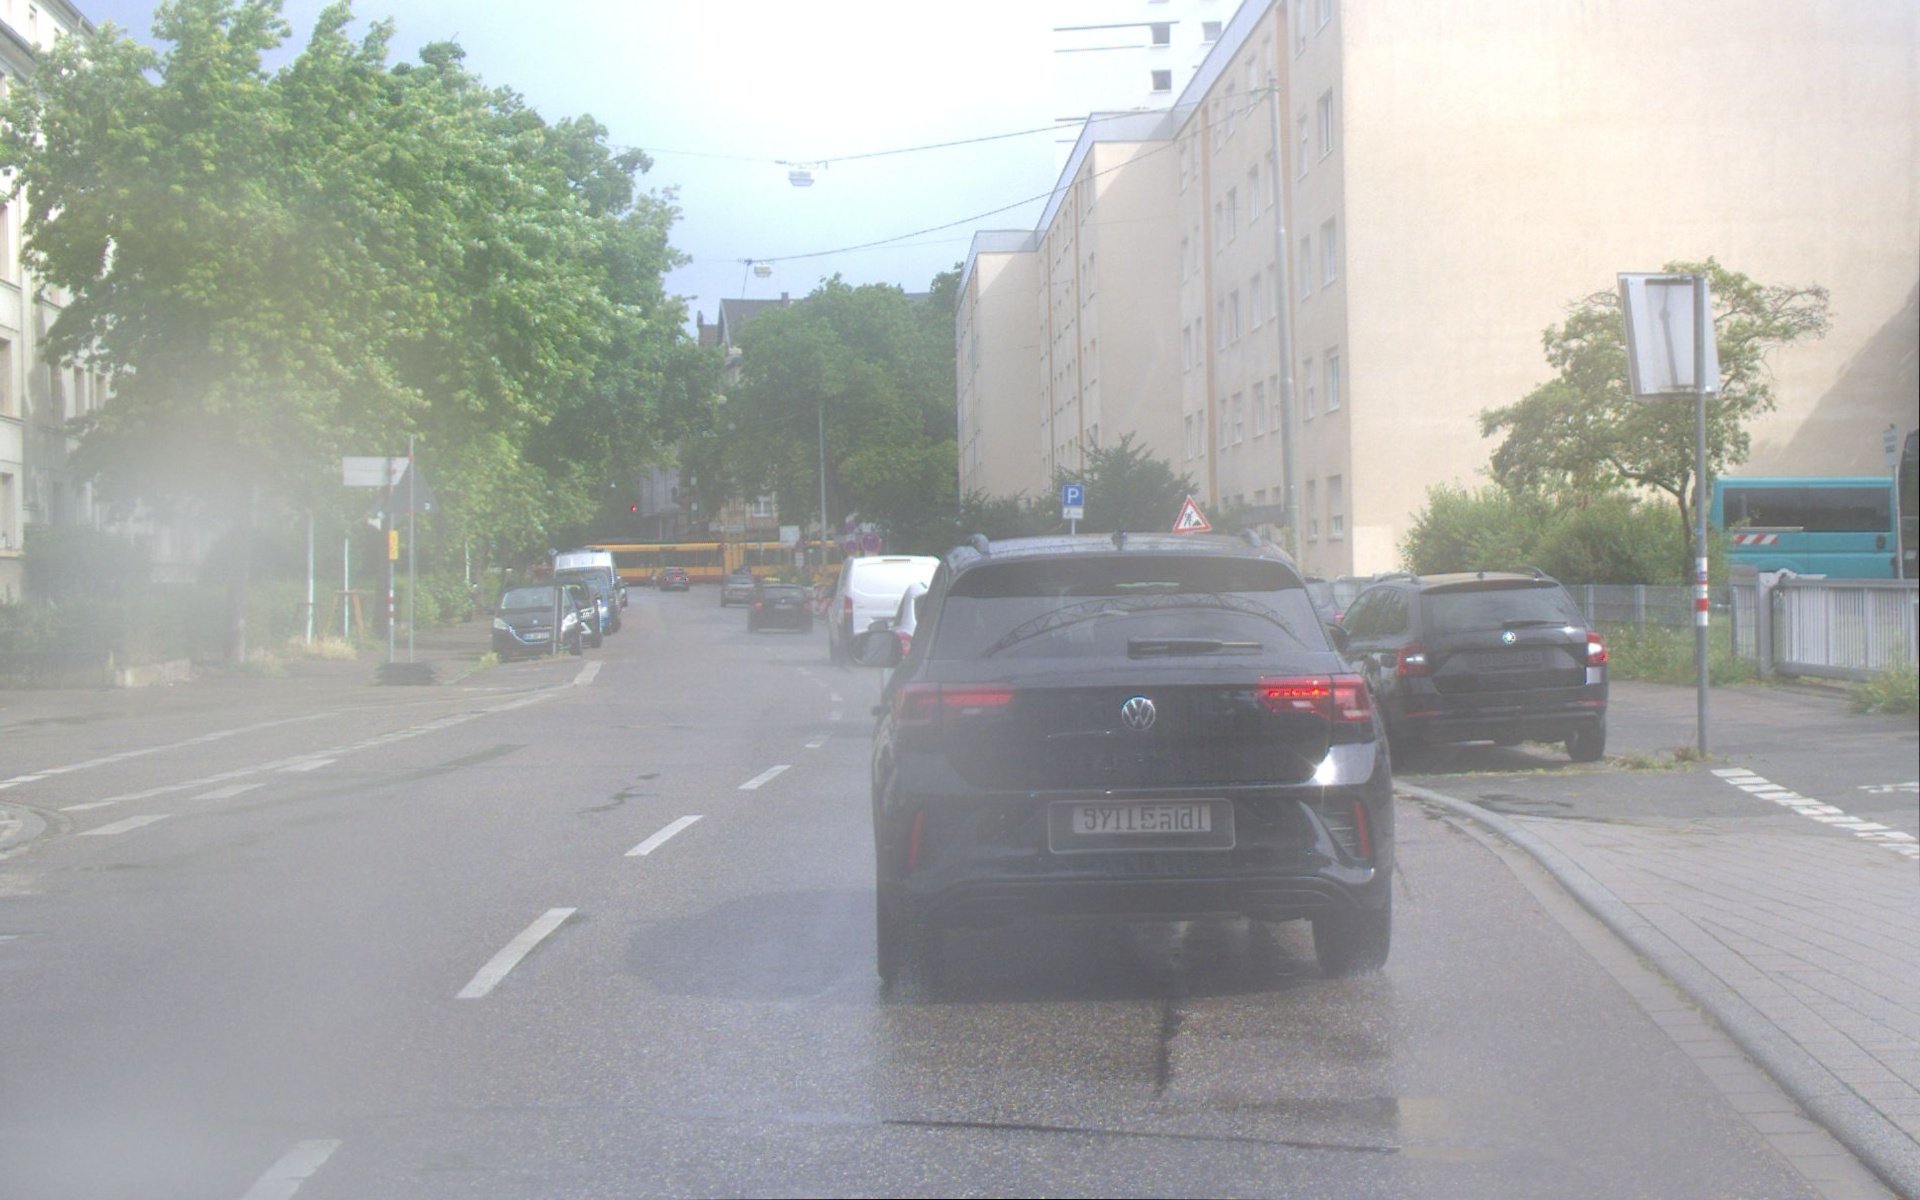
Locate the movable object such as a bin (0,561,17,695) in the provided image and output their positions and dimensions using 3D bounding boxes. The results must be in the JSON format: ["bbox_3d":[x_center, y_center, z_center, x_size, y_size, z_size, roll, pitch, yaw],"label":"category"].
[{"bbox_3d":[-12.768,0.379,42.497,1.539,1.656,1.457,-1,1,18],"label":"movable object such as a bin"}]

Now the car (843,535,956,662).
[{"bbox_3d":[-1.085,-0.018,59.661,1.836,2.096,4.000,1,0,-2],"label":"car"}]

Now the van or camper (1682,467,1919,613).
[{"bbox_3d":[13.643,-0.934,52.503,4.759,2.124,2.321,-1,1,3],"label":"van or camper"}]

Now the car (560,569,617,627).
[{"bbox_3d":[-11.086,-0.077,102.774,1.585,1.634,3.921,-2,1,-6],"label":"car"}]

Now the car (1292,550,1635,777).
[{"bbox_3d":[3.852,0.436,27.045,1.774,1.534,4.378,-3,1,-3],"label":"car"}]

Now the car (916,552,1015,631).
[{"bbox_3d":[0.088,-0.189,71.049,1.695,1.533,4.033,-2,1,-4],"label":"car"}]

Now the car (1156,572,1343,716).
[{"bbox_3d":[3.196,0.488,38.555,1.757,1.522,4.000,0,-1,0],"label":"car"}]

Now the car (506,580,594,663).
[{"bbox_3d":[-7.952,0.395,66.916,1.585,1.500,4.065,-2,1,-6],"label":"car"}]

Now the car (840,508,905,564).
[{"bbox_3d":[-2.684,-1.958,106.229,1.841,1.602,3.675,-3,1,0],"label":"car"}]

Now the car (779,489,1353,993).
[{"bbox_3d":[0.299,0.471,13.344,1.873,1.640,4.062,1,0,-1],"label":"car"}]

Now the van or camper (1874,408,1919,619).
[{"bbox_3d":[14.080,-1.073,42.382,4.998,2.546,2.175,-1,0,0],"label":"van or camper"}]

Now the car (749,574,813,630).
[{"bbox_3d":[-5.112,0.039,97.921,1.604,1.505,3.548,-2,1,-5],"label":"car"}]

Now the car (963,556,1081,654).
[{"bbox_3d":[1.061,0.057,60.594,1.604,1.656,4.033,0,1,-6],"label":"car"}]

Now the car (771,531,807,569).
[{"bbox_3d":[-8.424,-2.455,168.990,1.665,1.831,4.001,-2,1,-3],"label":"car"}]

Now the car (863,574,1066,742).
[{"bbox_3d":[-0.006,0.535,33.028,1.813,1.498,4.000,1,0,-1],"label":"car"}]
